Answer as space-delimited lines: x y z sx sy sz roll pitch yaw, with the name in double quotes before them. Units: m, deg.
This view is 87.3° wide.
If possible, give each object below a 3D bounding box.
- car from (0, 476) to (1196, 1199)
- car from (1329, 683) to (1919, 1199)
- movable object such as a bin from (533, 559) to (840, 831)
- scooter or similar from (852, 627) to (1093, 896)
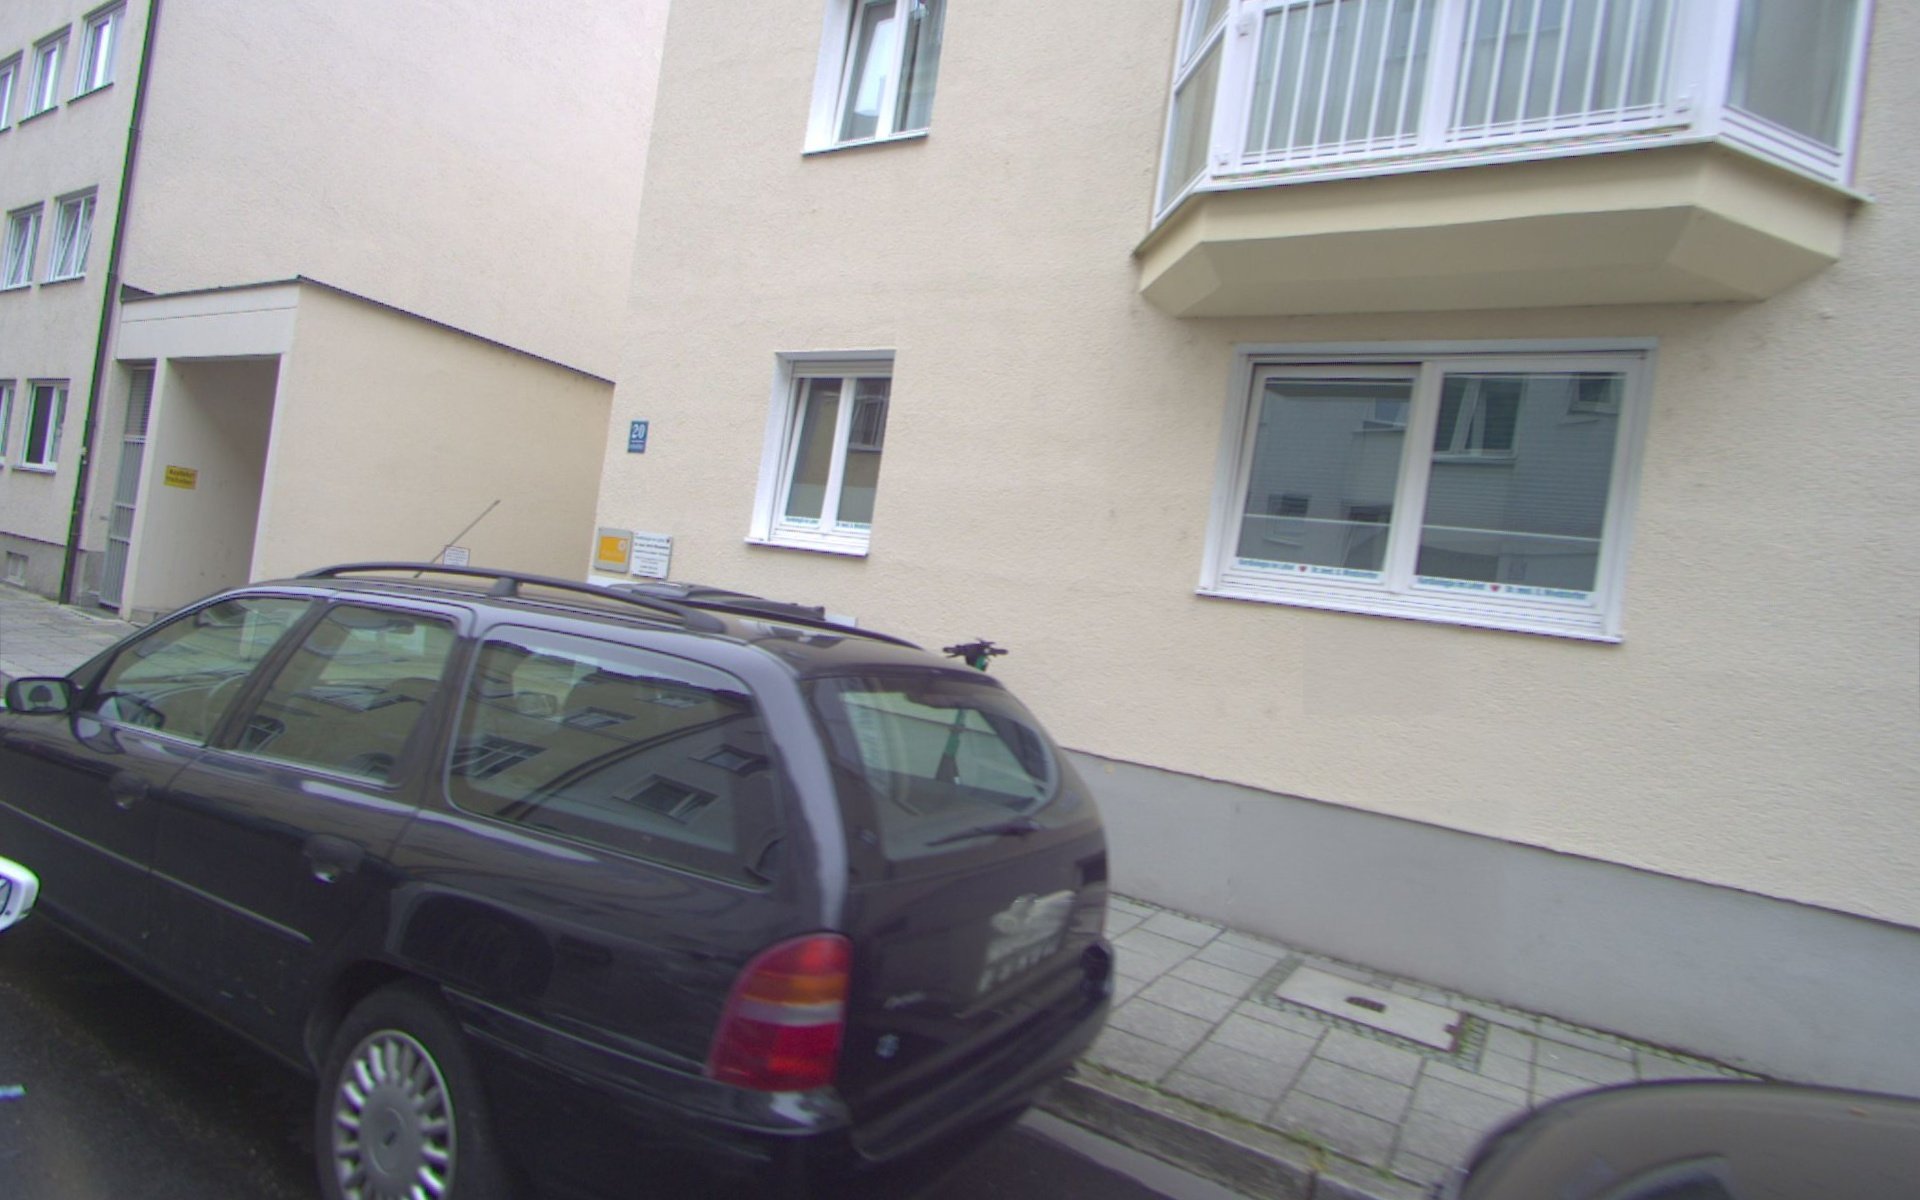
"car" -1.726 0.570 3.332 4.454 1.487 1.722 7 -3 29
"car" 2.593 1.114 0.554 4.338 1.421 1.837 7 -3 31
"movable object such as a bin" -1.794 0.562 6.598 1.560 1.441 1.033 7 1 32
"scooter or similar" 0.065 0.867 5.770 1.118 1.282 0.576 7 1 32
